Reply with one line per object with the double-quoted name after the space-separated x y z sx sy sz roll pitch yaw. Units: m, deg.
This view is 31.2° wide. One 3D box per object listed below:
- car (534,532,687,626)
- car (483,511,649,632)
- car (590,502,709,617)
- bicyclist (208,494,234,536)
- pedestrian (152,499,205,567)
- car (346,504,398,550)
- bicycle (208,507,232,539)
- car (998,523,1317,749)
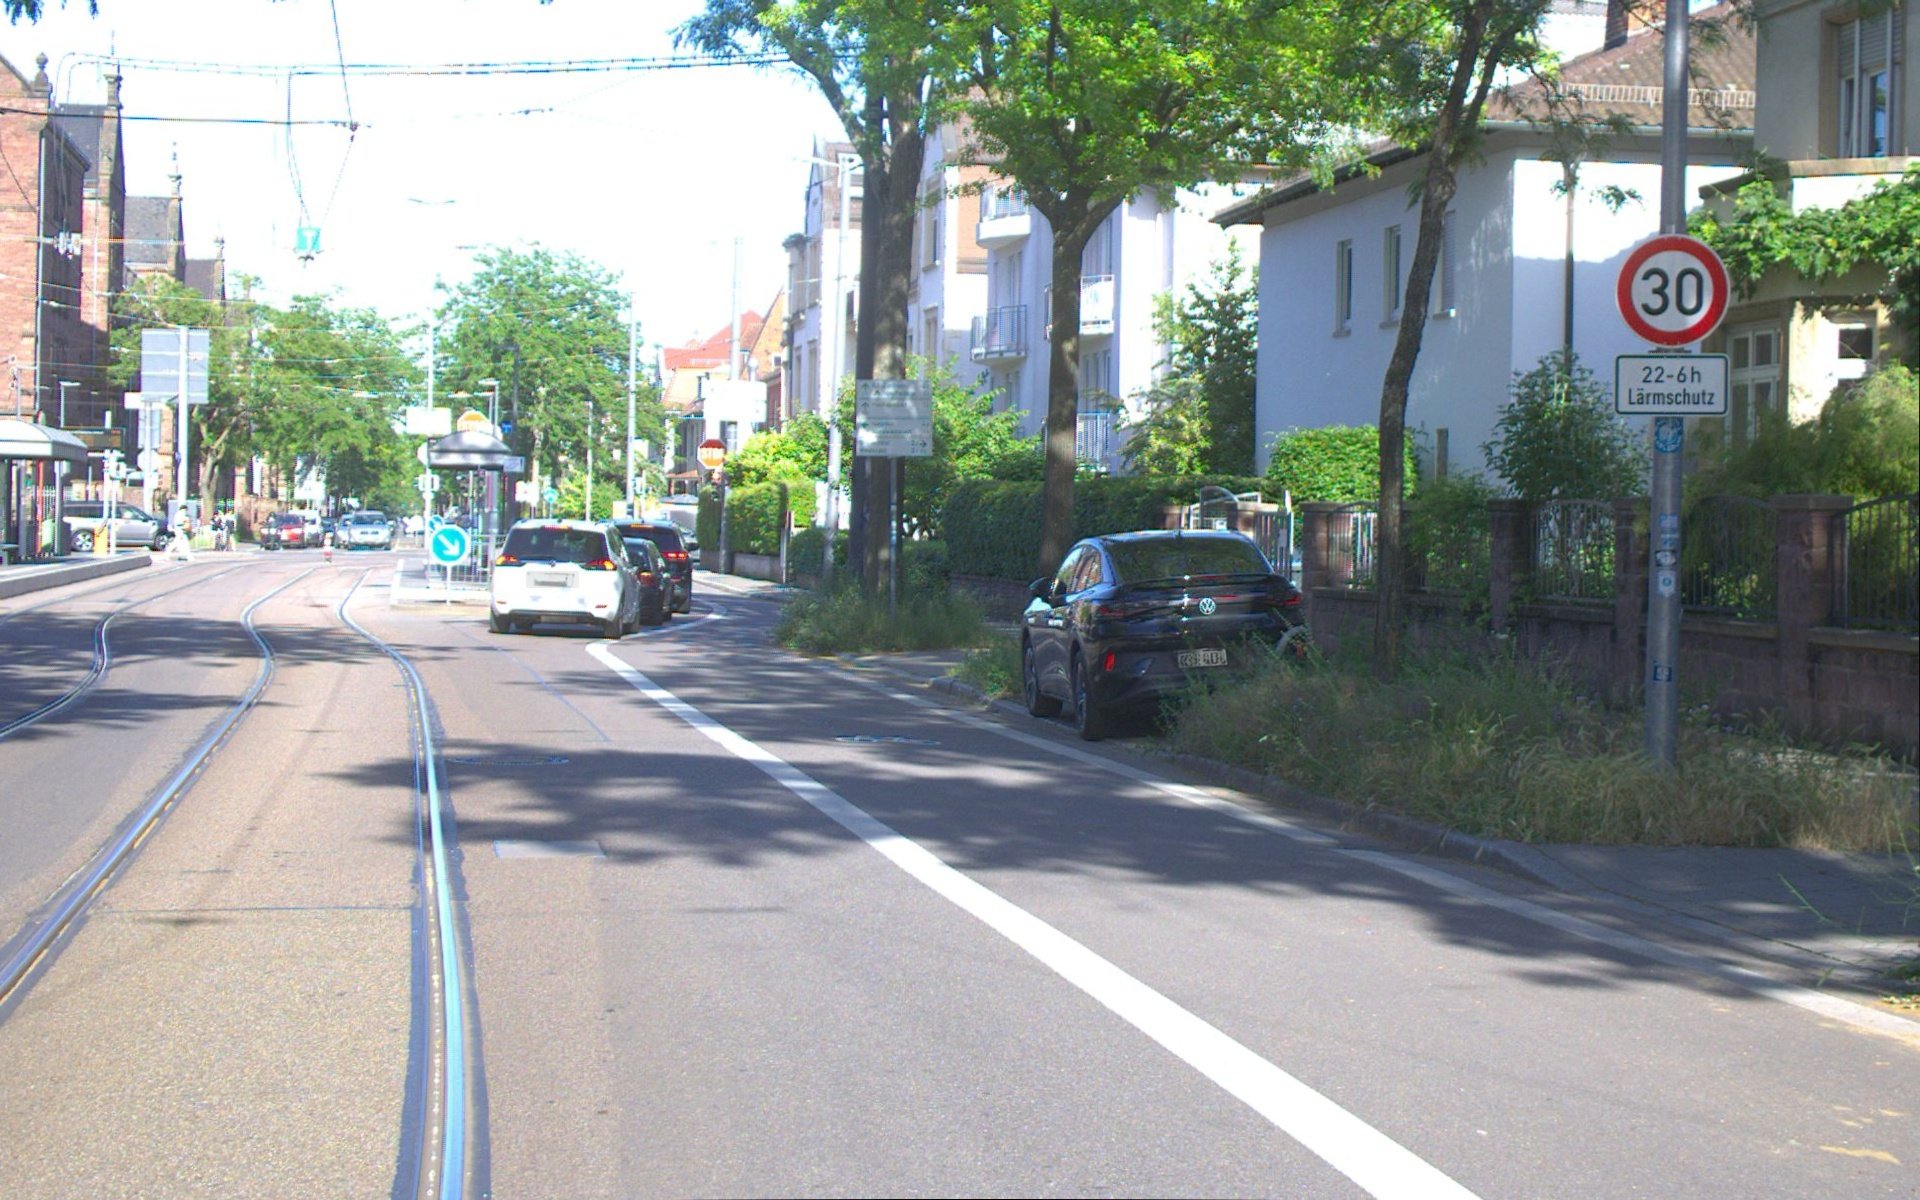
-5.690 -0.372 56.360 1.993 1.437 4.000 1 1 1 "car"
-5.607 -0.377 49.386 1.892 1.605 4.229 1 -1 0 "car"
-5.616 -0.753 62.535 1.709 2.007 3.906 1 1 1 "car"
-30.684 -3.535 142.797 0.943 1.728 0.861 1 1 -9 "bicyclist"
-23.126 -1.981 101.795 1.156 2.007 1.119 1 1 11 "pedestrian"
-25.244 -3.126 147.738 1.993 1.907 4.001 1 1 -8 "car"
-30.661 -3.204 142.516 0.821 1.292 2.678 1 1 -10 "bicycle"
1.561 0.225 29.008 1.804 1.688 4.730 -2 2 -7 "car"
